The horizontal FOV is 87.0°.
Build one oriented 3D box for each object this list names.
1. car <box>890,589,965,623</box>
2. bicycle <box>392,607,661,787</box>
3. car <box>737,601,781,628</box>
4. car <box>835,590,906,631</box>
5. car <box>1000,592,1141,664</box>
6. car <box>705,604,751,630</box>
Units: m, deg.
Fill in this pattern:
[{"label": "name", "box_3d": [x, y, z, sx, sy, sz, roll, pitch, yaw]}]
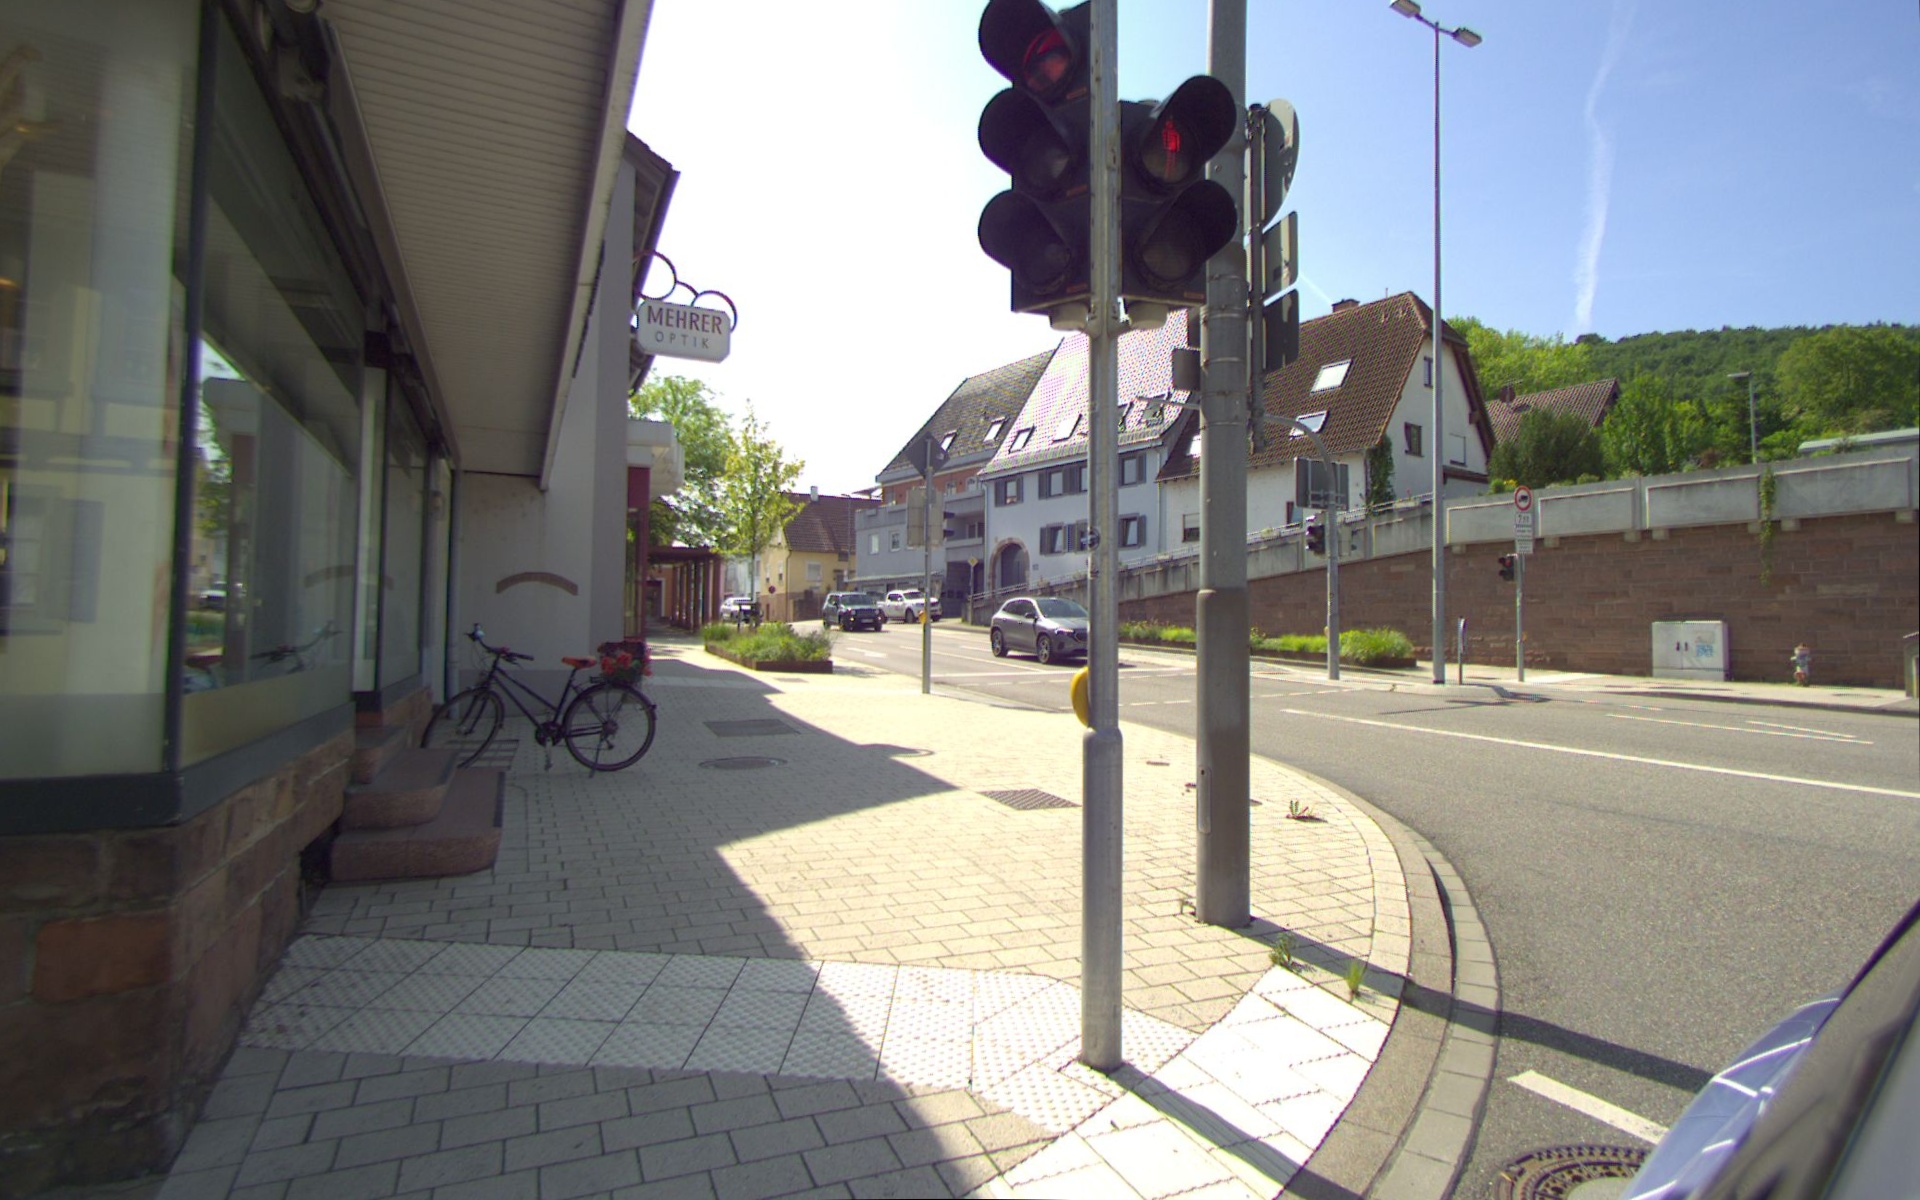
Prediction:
[{"label": "car", "box_3d": [-1.858, 0.336, 55.715, 1.775, 1.821, 5.288, 0, -1, -32]}, {"label": "bicycle", "box_3d": [-3.203, 0.695, 7.612, 1.771, 1.250, 0.550, 1, -2, -20]}, {"label": "car", "box_3d": [-12.277, 0.872, 61.726, 1.744, 1.562, 4.105, 0, 0, -24]}, {"label": "car", "box_3d": [-3.922, 0.454, 43.732, 1.756, 1.673, 4.401, 0, -1, -23]}, {"label": "car", "box_3d": [2.616, 0.621, 25.055, 1.702, 1.593, 4.299, -1, 1, -21]}, {"label": "car", "box_3d": [-13.763, 0.985, 60.024, 1.752, 1.444, 3.712, -1, 0, -28]}]
